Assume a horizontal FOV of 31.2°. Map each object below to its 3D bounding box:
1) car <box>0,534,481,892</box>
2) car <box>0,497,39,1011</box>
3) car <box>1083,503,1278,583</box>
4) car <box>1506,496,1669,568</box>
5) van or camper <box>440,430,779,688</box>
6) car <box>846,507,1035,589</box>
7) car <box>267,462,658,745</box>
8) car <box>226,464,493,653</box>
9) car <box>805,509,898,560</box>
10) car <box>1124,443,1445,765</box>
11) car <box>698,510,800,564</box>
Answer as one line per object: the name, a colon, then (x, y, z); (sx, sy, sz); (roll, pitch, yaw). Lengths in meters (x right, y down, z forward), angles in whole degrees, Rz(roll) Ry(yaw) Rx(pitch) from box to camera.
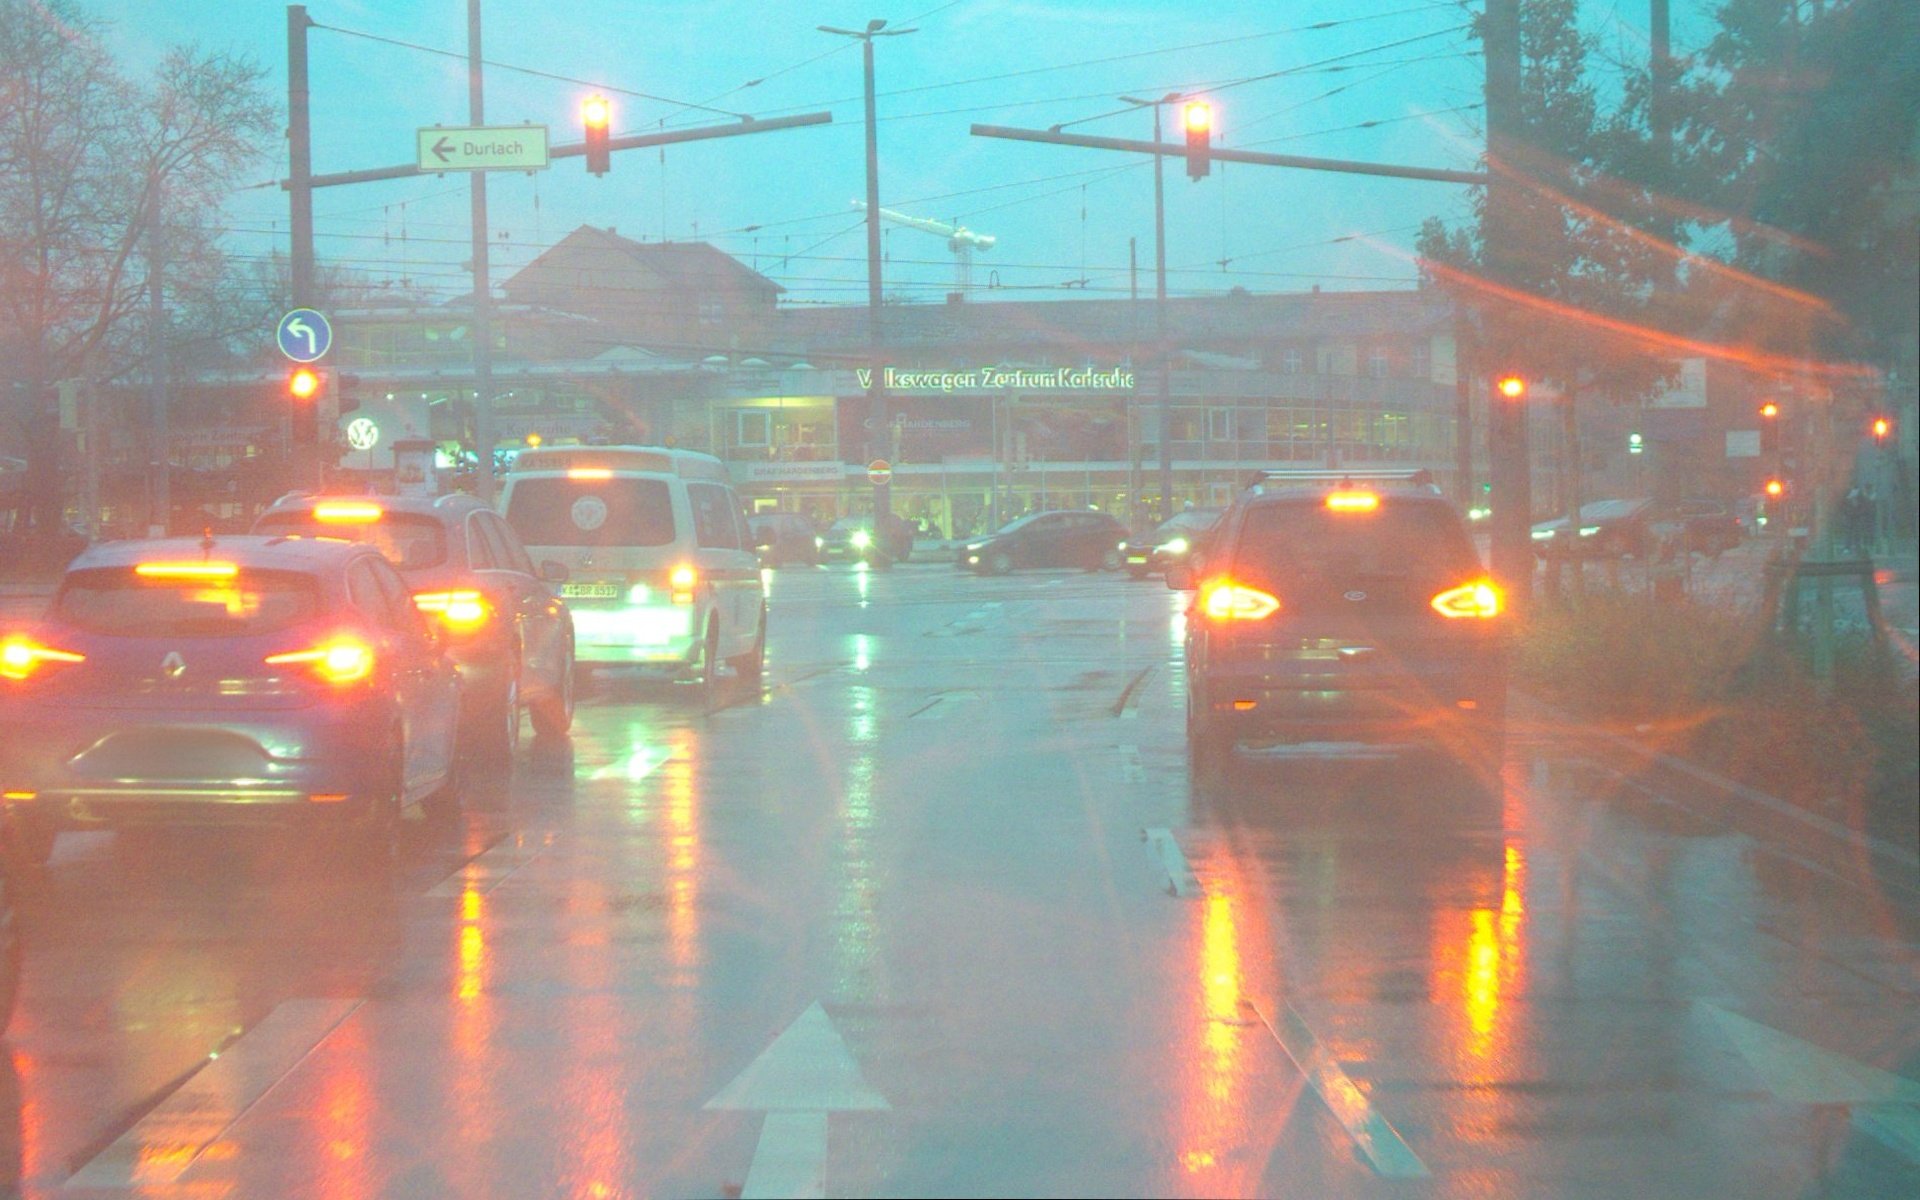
car: (-3.259, 0.418, 15.903); (1.659, 1.399, 4.121); (1, 1, -2)
car: (-3.437, 0.460, 8.284); (1.700, 1.476, 3.873); (2, 1, -6)
car: (4.575, -1.188, 70.820); (1.998, 1.509, 3.991); (0, 2, 40)
car: (14.639, -1.599, 80.141); (1.998, 1.597, 3.991); (0, 1, 40)
van or camper: (-3.019, -0.393, 30.741); (2.202, 2.102, 4.987); (1, 1, 4)
car: (-0.455, -1.194, 79.009); (3.986, 1.766, 2.001); (-2, 1, -12)
car: (-3.091, -0.031, 22.242); (1.785, 1.595, 4.541); (2, 1, 1)
car: (-5.912, -0.432, 34.307); (1.885, 1.766, 4.000); (0, 1, 1)
car: (-3.197, -1.966, 101.922); (1.814, 1.441, 3.998); (-1, 1, 12)
car: (1.980, -0.049, 21.378); (1.778, 1.794, 4.424); (0, 2, 5)
car: (-5.831, -1.767, 95.386); (1.814, 1.441, 3.998); (-1, 1, 12)
